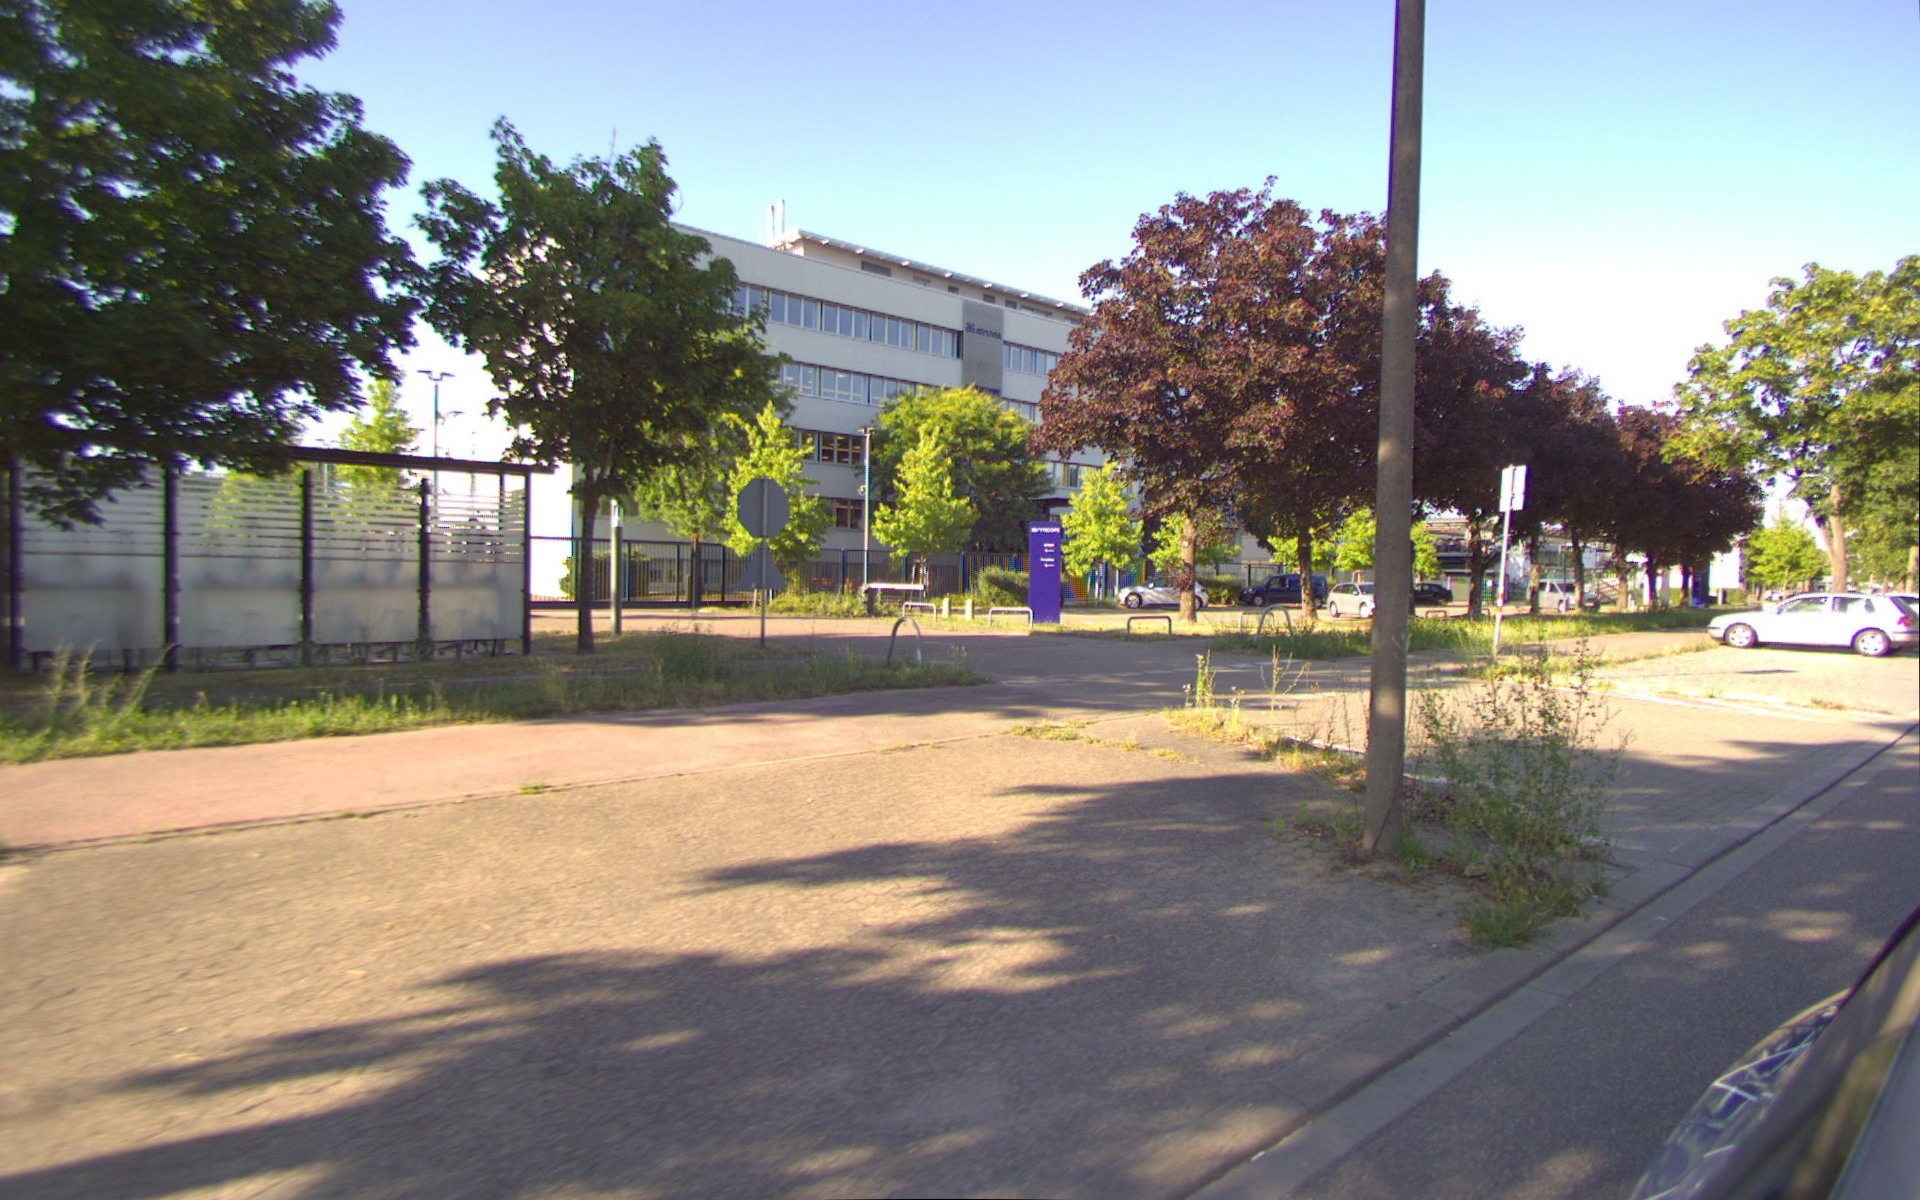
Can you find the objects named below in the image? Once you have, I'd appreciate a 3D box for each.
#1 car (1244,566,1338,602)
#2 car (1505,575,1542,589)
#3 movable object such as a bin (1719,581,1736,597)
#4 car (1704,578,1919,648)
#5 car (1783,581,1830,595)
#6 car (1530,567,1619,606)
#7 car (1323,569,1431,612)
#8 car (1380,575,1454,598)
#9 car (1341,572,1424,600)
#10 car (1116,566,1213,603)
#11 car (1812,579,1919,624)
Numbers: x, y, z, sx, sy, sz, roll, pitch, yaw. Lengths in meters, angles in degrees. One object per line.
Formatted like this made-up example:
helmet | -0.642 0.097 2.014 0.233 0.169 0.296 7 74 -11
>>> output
car | 17.544 -0.876 53.818 4.417 1.771 1.765 2 1 6
car | 61.756 -1.998 110.889 4.478 1.449 2.037 0 2 -39
movable object such as a bin | 70.769 -1.016 93.316 1.016 1.434 0.850 1 0 -22
car | 21.180 0.250 24.774 1.961 1.497 4.376 0 2 -33
car | 114.280 -1.590 136.713 4.573 1.603 1.977 4 3 33
car | 33.254 -0.725 54.957 1.964 1.958 4.950 1 1 3
car | 16.593 -0.425 40.550 1.960 1.593 4.959 1 2 -4
car | 29.355 -0.876 65.136 3.931 1.371 1.804 1 2 6
car | 25.187 -0.828 60.478 4.243 1.547 1.802 1 2 10
car | 9.366 -0.711 46.598 4.232 1.546 1.764 2 1 8
car | 35.707 0.057 38.277 5.178 1.593 2.123 3 2 45
